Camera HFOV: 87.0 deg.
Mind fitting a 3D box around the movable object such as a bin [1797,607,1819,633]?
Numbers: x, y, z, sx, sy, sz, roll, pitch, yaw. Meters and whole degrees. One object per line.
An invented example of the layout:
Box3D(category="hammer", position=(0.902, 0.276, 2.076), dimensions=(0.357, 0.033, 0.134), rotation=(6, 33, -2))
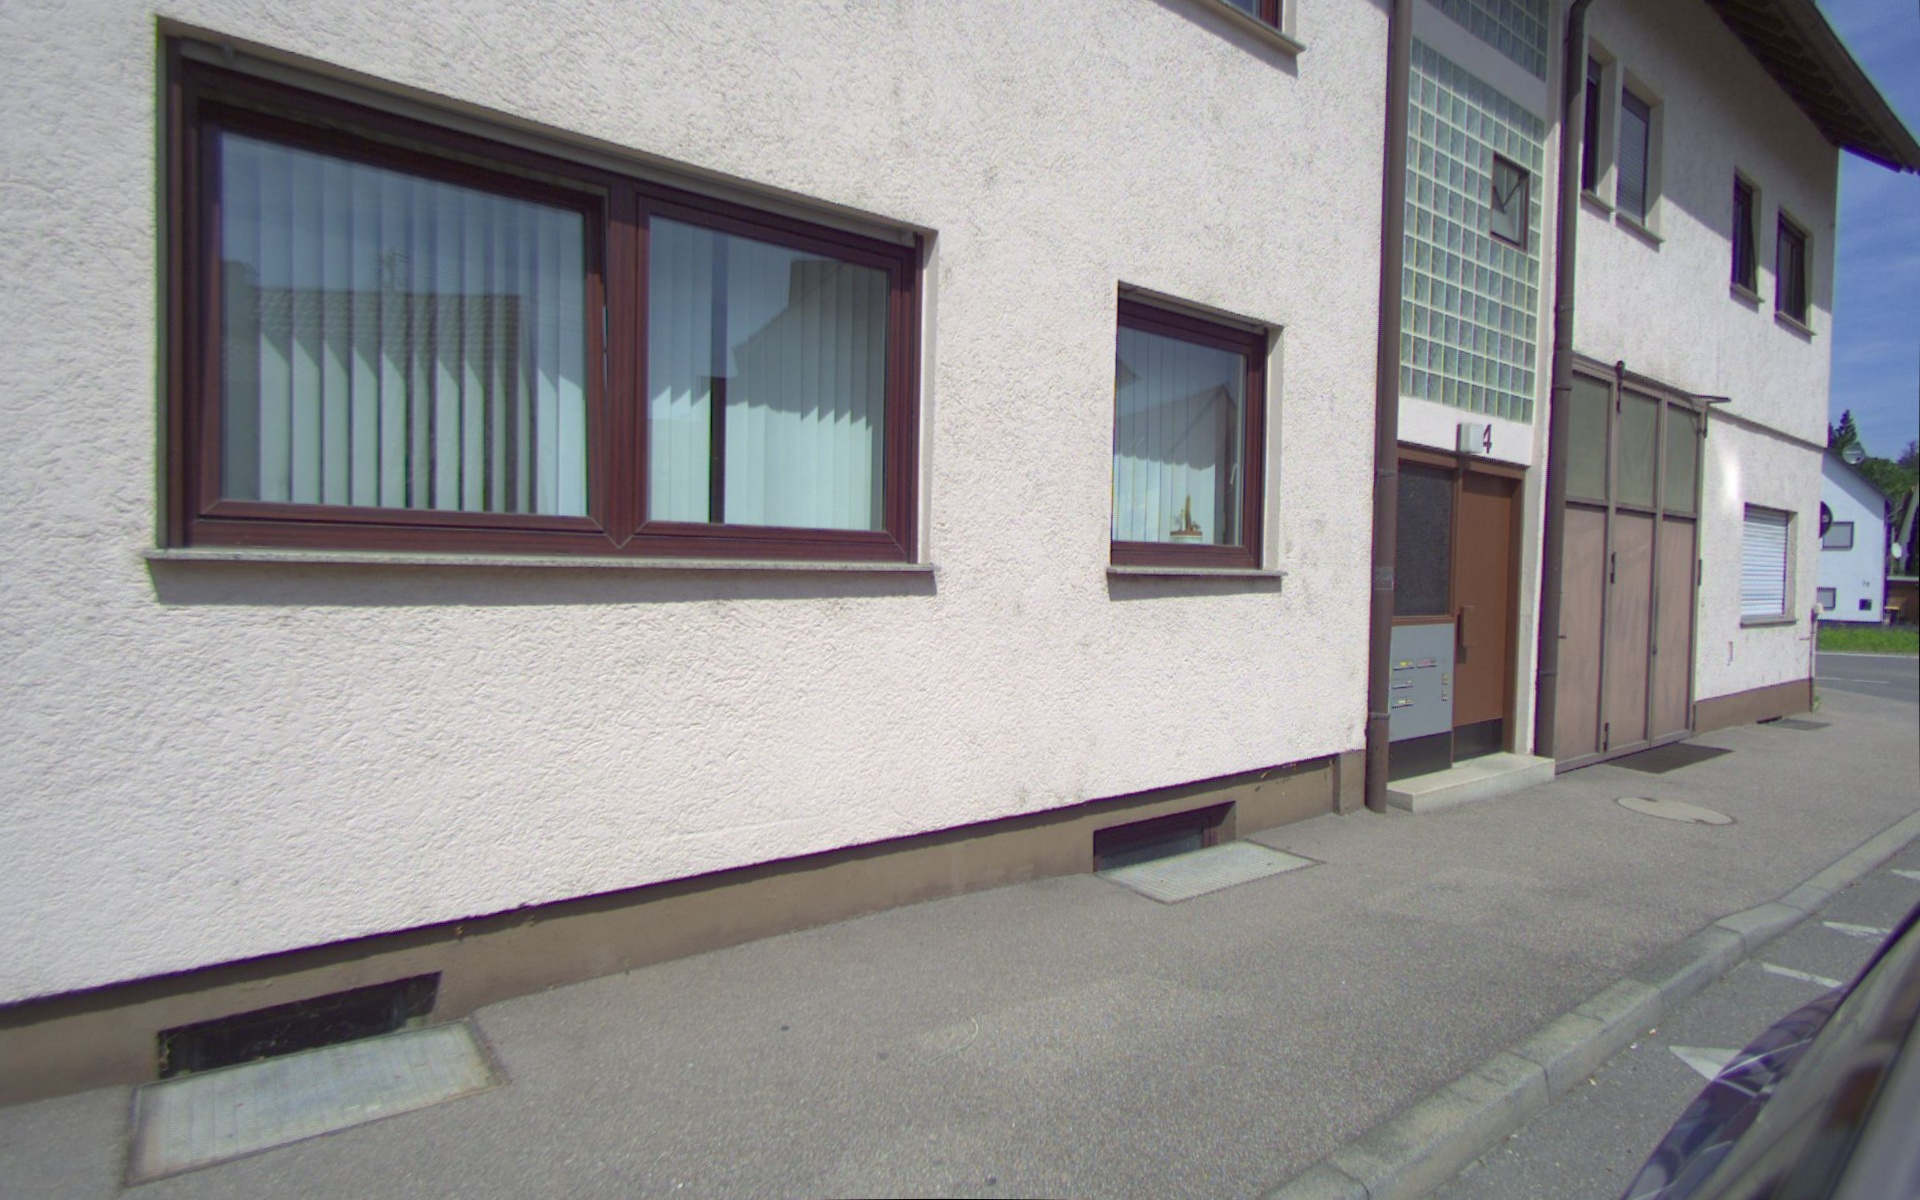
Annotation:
Box3D(category="movable object such as a bin", position=(36.134, 0.853, 43.127), dimensions=(0.575, 1.062, 0.893), rotation=(2, 1, 32))
